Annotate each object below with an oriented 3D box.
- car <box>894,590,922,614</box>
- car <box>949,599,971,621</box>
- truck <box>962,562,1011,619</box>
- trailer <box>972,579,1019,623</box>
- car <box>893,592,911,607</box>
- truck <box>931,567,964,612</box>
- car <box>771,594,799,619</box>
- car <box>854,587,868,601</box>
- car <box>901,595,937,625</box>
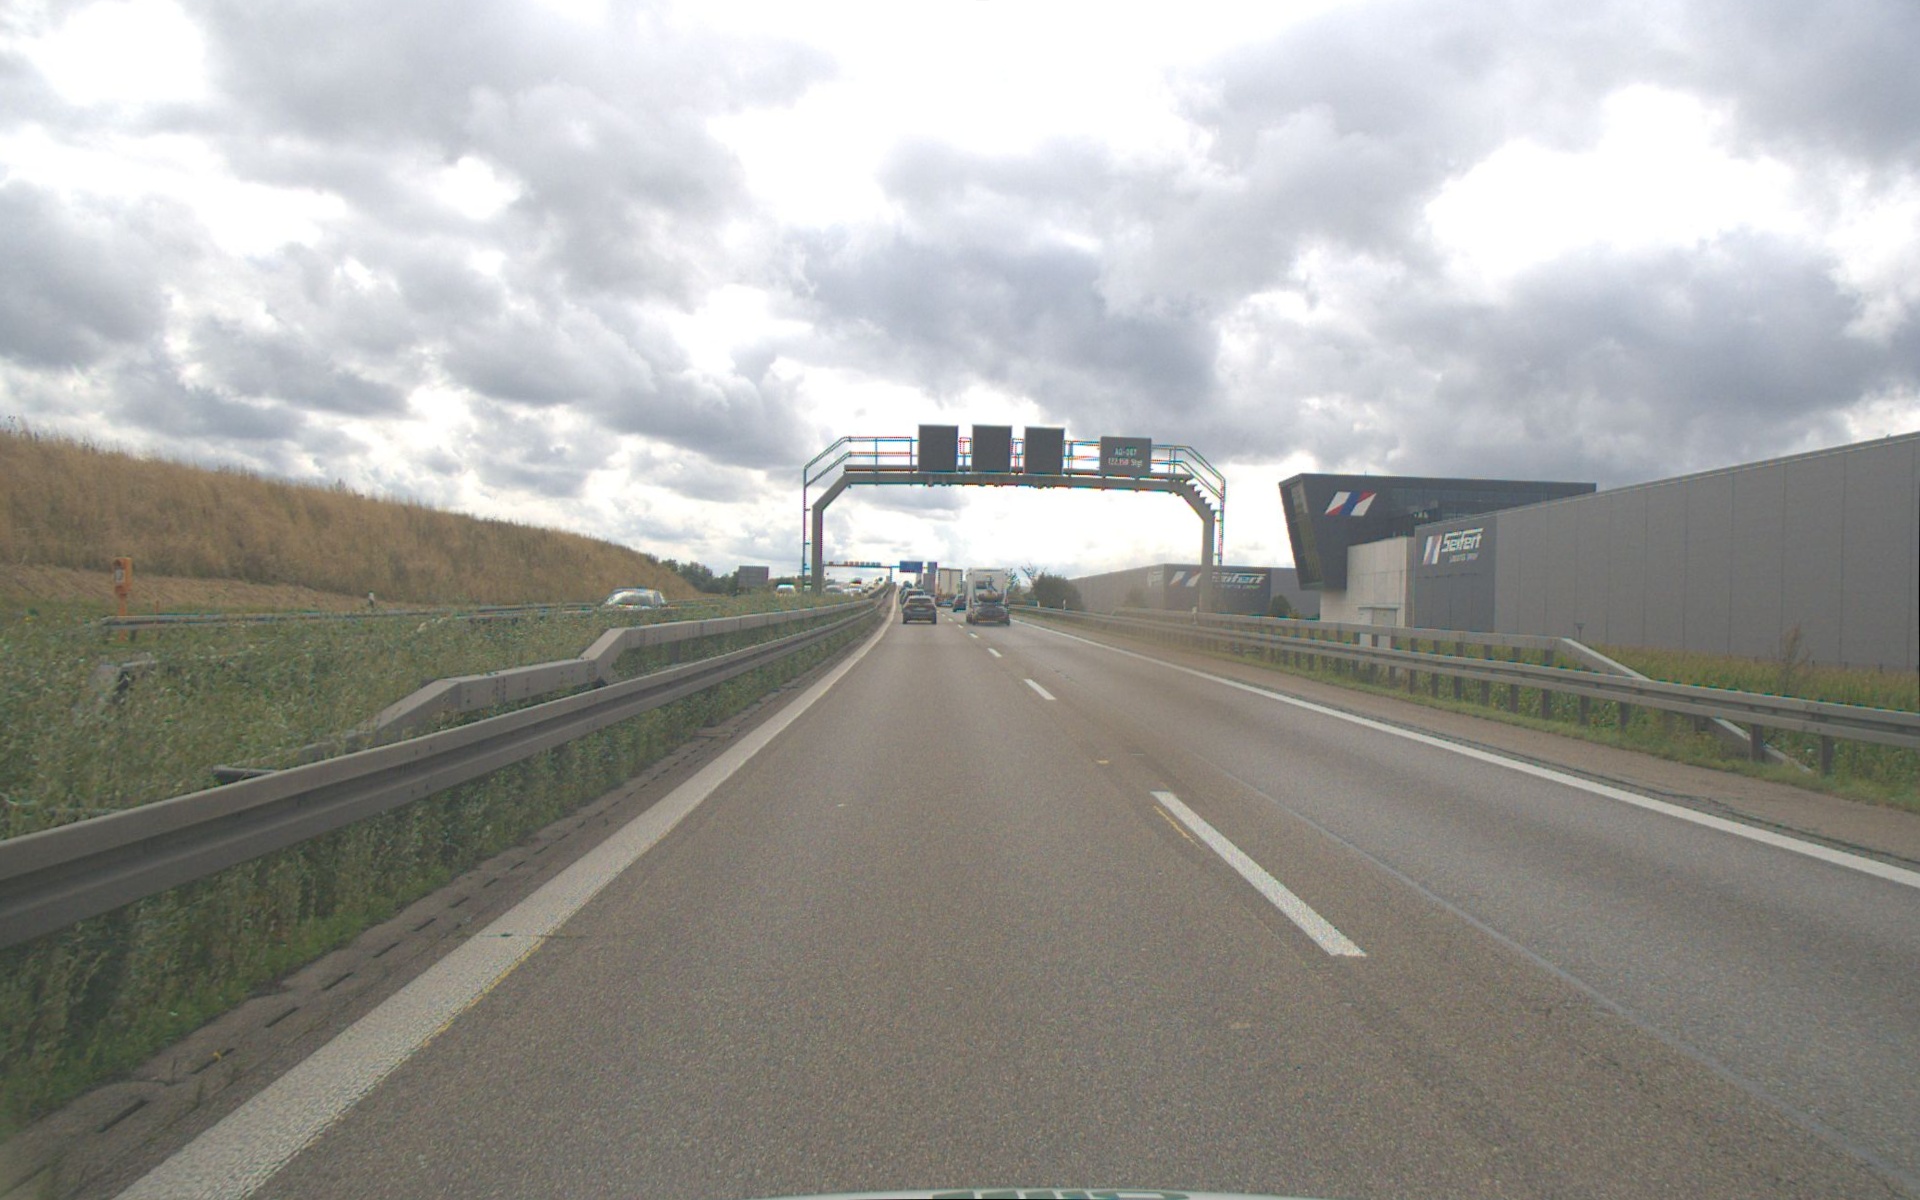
[{"bbox_3d":[-3.918,0.170,125.536,1.905,1.714,4.000,1,-1,0],"label":"car"},{"bbox_3d":[0.018,0.829,135.340,1.764,1.714,4.000,1,-1,0],"label":"car"},{"bbox_3d":[1.407,-0.468,91.038,2.432,3.002,5.813,1,-1,-1],"label":"truck"},{"bbox_3d":[1.763,0.065,83.848,2.290,2.174,4.000,1,-1,0],"label":"trailer"},{"bbox_3d":[-6.956,-0.035,198.258,1.903,1.806,3.696,1,-1,0],"label":"car"},{"bbox_3d":[-1.393,-1.093,179.460,3.272,4.613,8.014,1,-1,-2],"label":"truck"},{"bbox_3d":[-14.990,0.550,142.068,1.953,2.049,4.706,1,0,-1],"label":"car"},{"bbox_3d":[-14.350,-0.875,240.641,1.791,1.918,5.417,1,-1,-2],"label":"car"},{"bbox_3d":[-2.113,0.541,86.568,1.710,1.478,4.000,1,-1,1],"label":"car"}]
